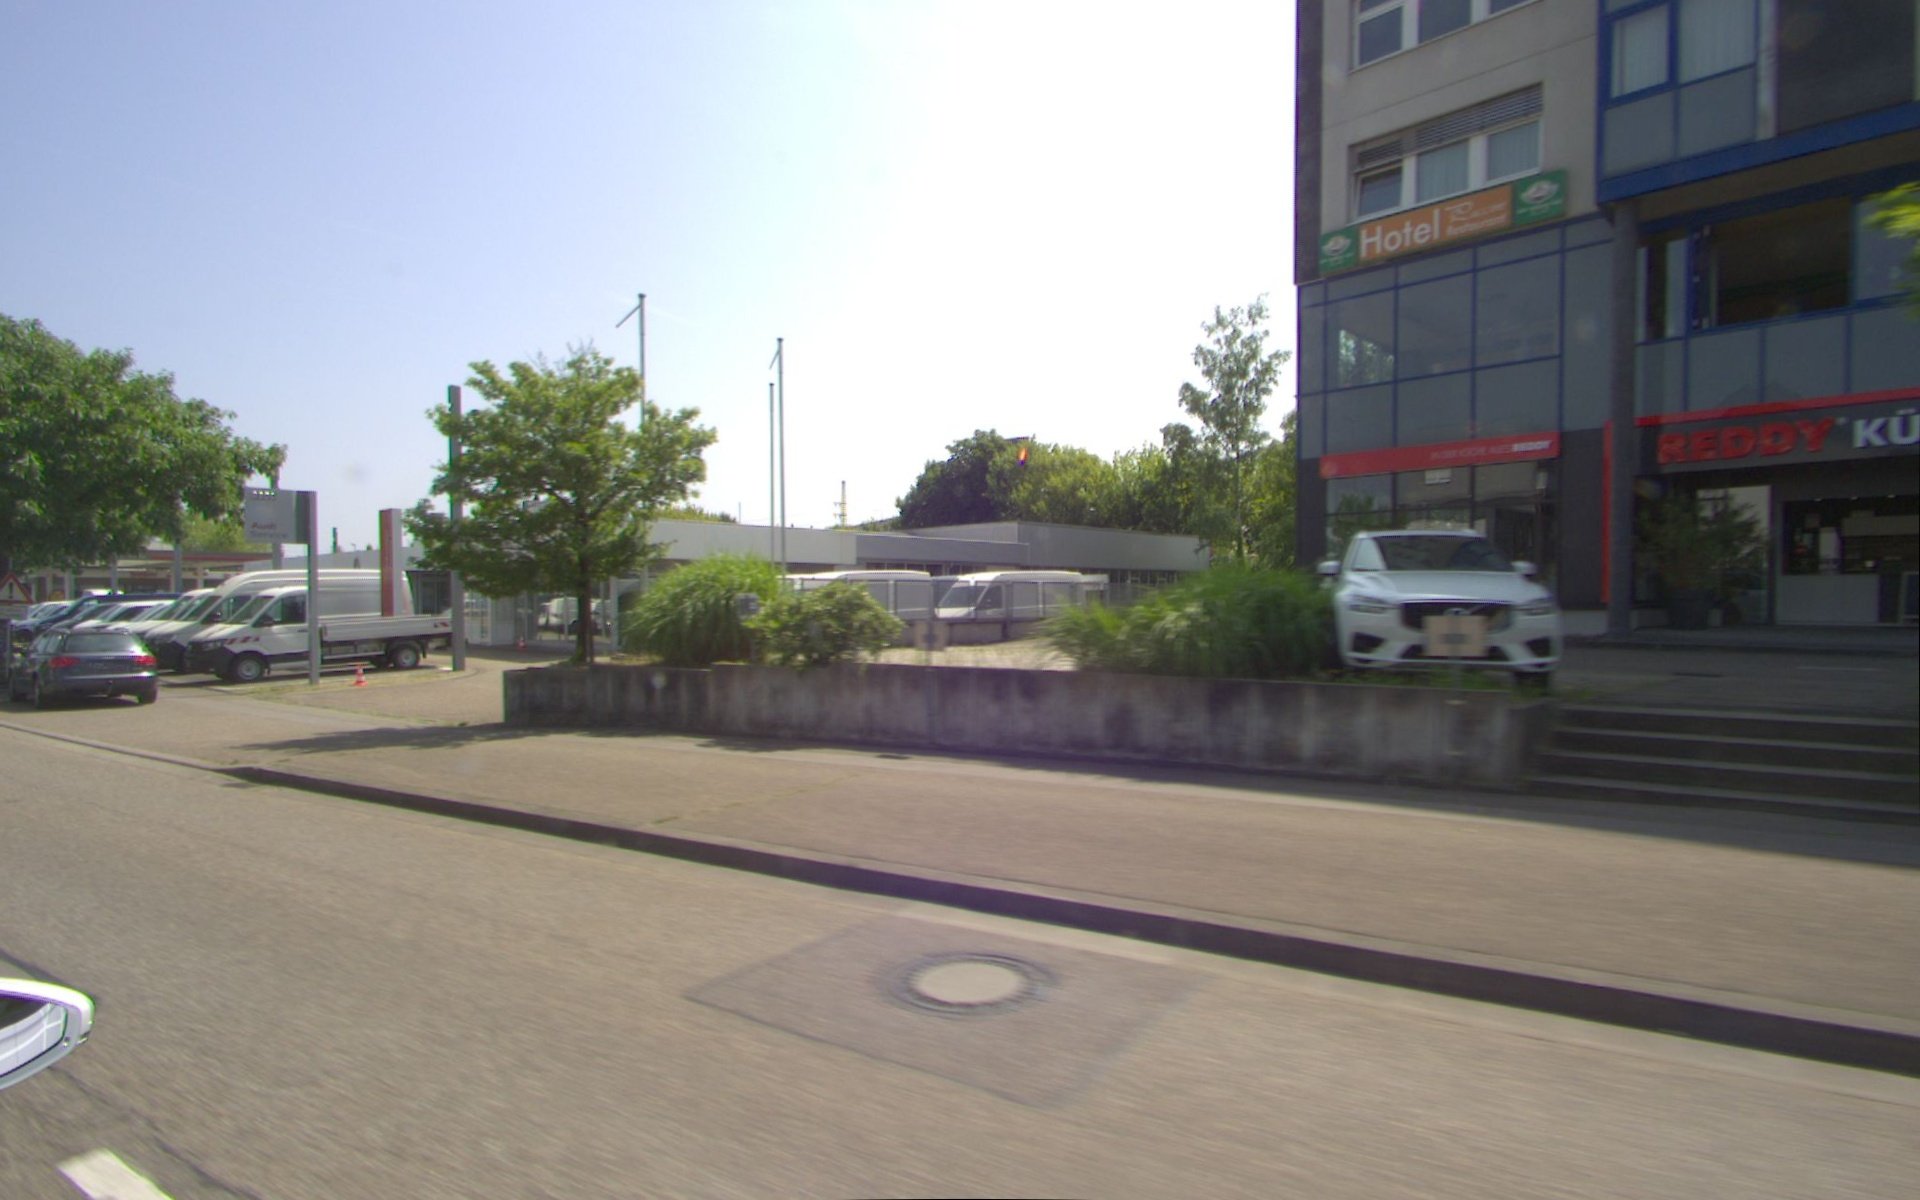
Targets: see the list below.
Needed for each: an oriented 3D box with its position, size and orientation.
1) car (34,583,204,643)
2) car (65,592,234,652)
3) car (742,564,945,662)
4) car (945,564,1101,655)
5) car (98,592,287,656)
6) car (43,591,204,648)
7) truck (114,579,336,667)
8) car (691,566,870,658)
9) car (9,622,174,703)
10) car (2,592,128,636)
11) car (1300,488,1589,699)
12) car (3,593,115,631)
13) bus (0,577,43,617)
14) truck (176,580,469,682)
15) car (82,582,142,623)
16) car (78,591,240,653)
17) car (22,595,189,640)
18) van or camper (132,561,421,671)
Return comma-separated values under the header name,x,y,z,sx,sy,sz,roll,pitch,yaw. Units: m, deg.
name,x,y,z,sx,sy,sz,roll,pitch,yaw
car,-38.460,0.647,45.924,2.181,2.556,5.811,-2,-2,43
car,-32.955,0.825,40.852,2.016,2.126,5.038,0,2,40
car,-3.221,0.427,28.889,2.098,2.560,5.853,-2,-2,43
car,2.269,0.386,34.187,1.978,2.845,6.085,-2,-2,42
car,-26.675,0.774,34.944,2.117,1.997,4.887,0,1,41
car,-35.065,0.736,42.104,2.103,2.144,4.875,1,2,40
truck,-22.741,0.610,31.167,2.088,2.469,5.218,1,2,42
car,-5.367,0.415,30.585,2.015,2.569,5.255,-2,-2,42
car,-17.245,1.157,19.820,4.268,1.424,1.790,-1,-2,40
car,-47.007,0.685,52.670,1.936,2.041,4.618,1,3,39
car,4.863,0.037,10.807,1.964,1.735,4.736,-1,-2,16
car,-47.316,0.626,52.640,1.860,1.804,4.130,-2,0,40
bus,-80.603,-0.320,85.594,2.787,3.120,12.155,0,1,-45
truck,-16.853,0.683,26.821,2.341,2.369,6.211,1,2,42
car,-59.528,0.133,70.215,6.937,2.712,2.244,1,2,42
car,-30.841,0.795,38.657,2.174,2.041,4.483,-1,2,42
car,-40.554,0.855,47.653,2.235,2.040,5.861,0,-1,43
van or camper,-20.134,0.383,29.896,2.248,2.937,6.764,1,1,40
